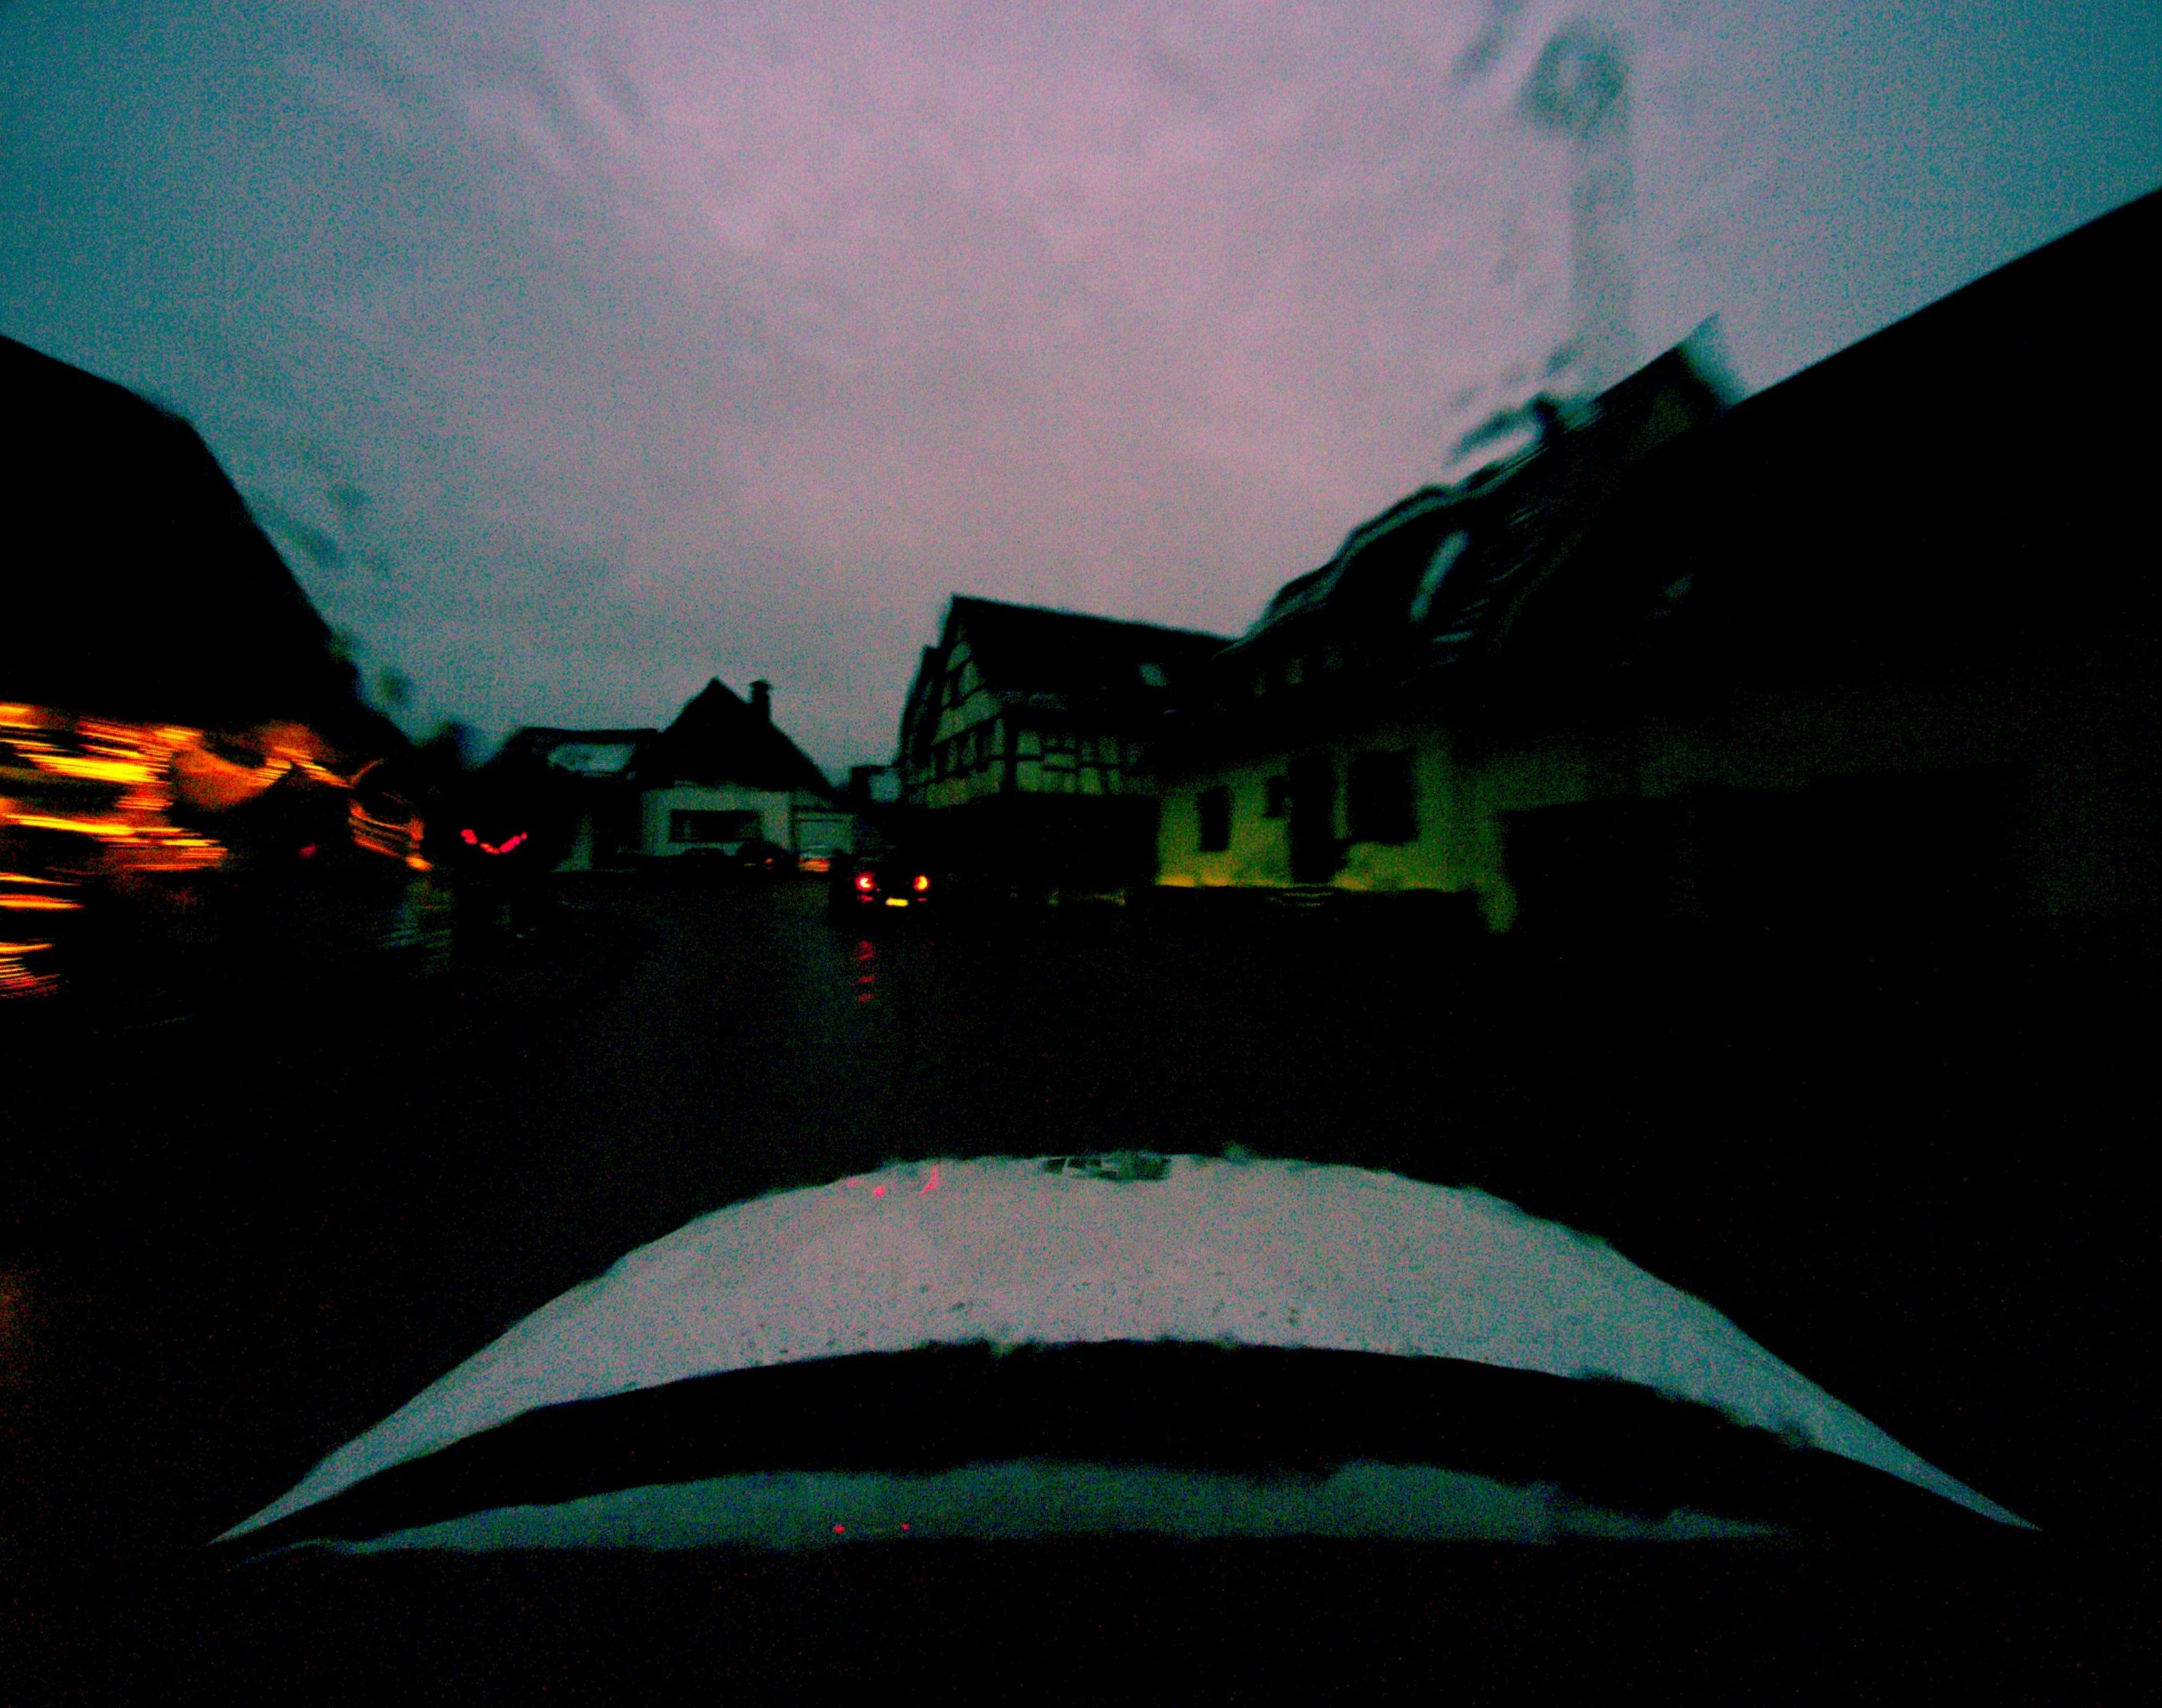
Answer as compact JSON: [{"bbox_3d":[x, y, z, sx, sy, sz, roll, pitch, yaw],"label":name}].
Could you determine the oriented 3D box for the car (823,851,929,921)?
[{"bbox_3d":[-4.874,0.686,19.044,1.555,1.466,3.665,2,-1,-28],"label":"car"}]

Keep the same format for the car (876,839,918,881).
[{"bbox_3d":[-8.185,0.217,36.068,1.595,1.515,3.965,-2,4,-15],"label":"car"}]

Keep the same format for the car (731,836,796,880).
[{"bbox_3d":[-14.427,0.128,37.266,1.849,1.660,4.463,-2,4,-9],"label":"car"}]

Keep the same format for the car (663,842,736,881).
[{"bbox_3d":[-17.426,0.285,37.389,1.882,1.449,3.884,-2,4,-8],"label":"car"}]

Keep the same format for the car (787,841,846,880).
[{"bbox_3d":[-11.831,0.243,36.711,1.808,1.420,4.028,-2,4,-8],"label":"car"}]
